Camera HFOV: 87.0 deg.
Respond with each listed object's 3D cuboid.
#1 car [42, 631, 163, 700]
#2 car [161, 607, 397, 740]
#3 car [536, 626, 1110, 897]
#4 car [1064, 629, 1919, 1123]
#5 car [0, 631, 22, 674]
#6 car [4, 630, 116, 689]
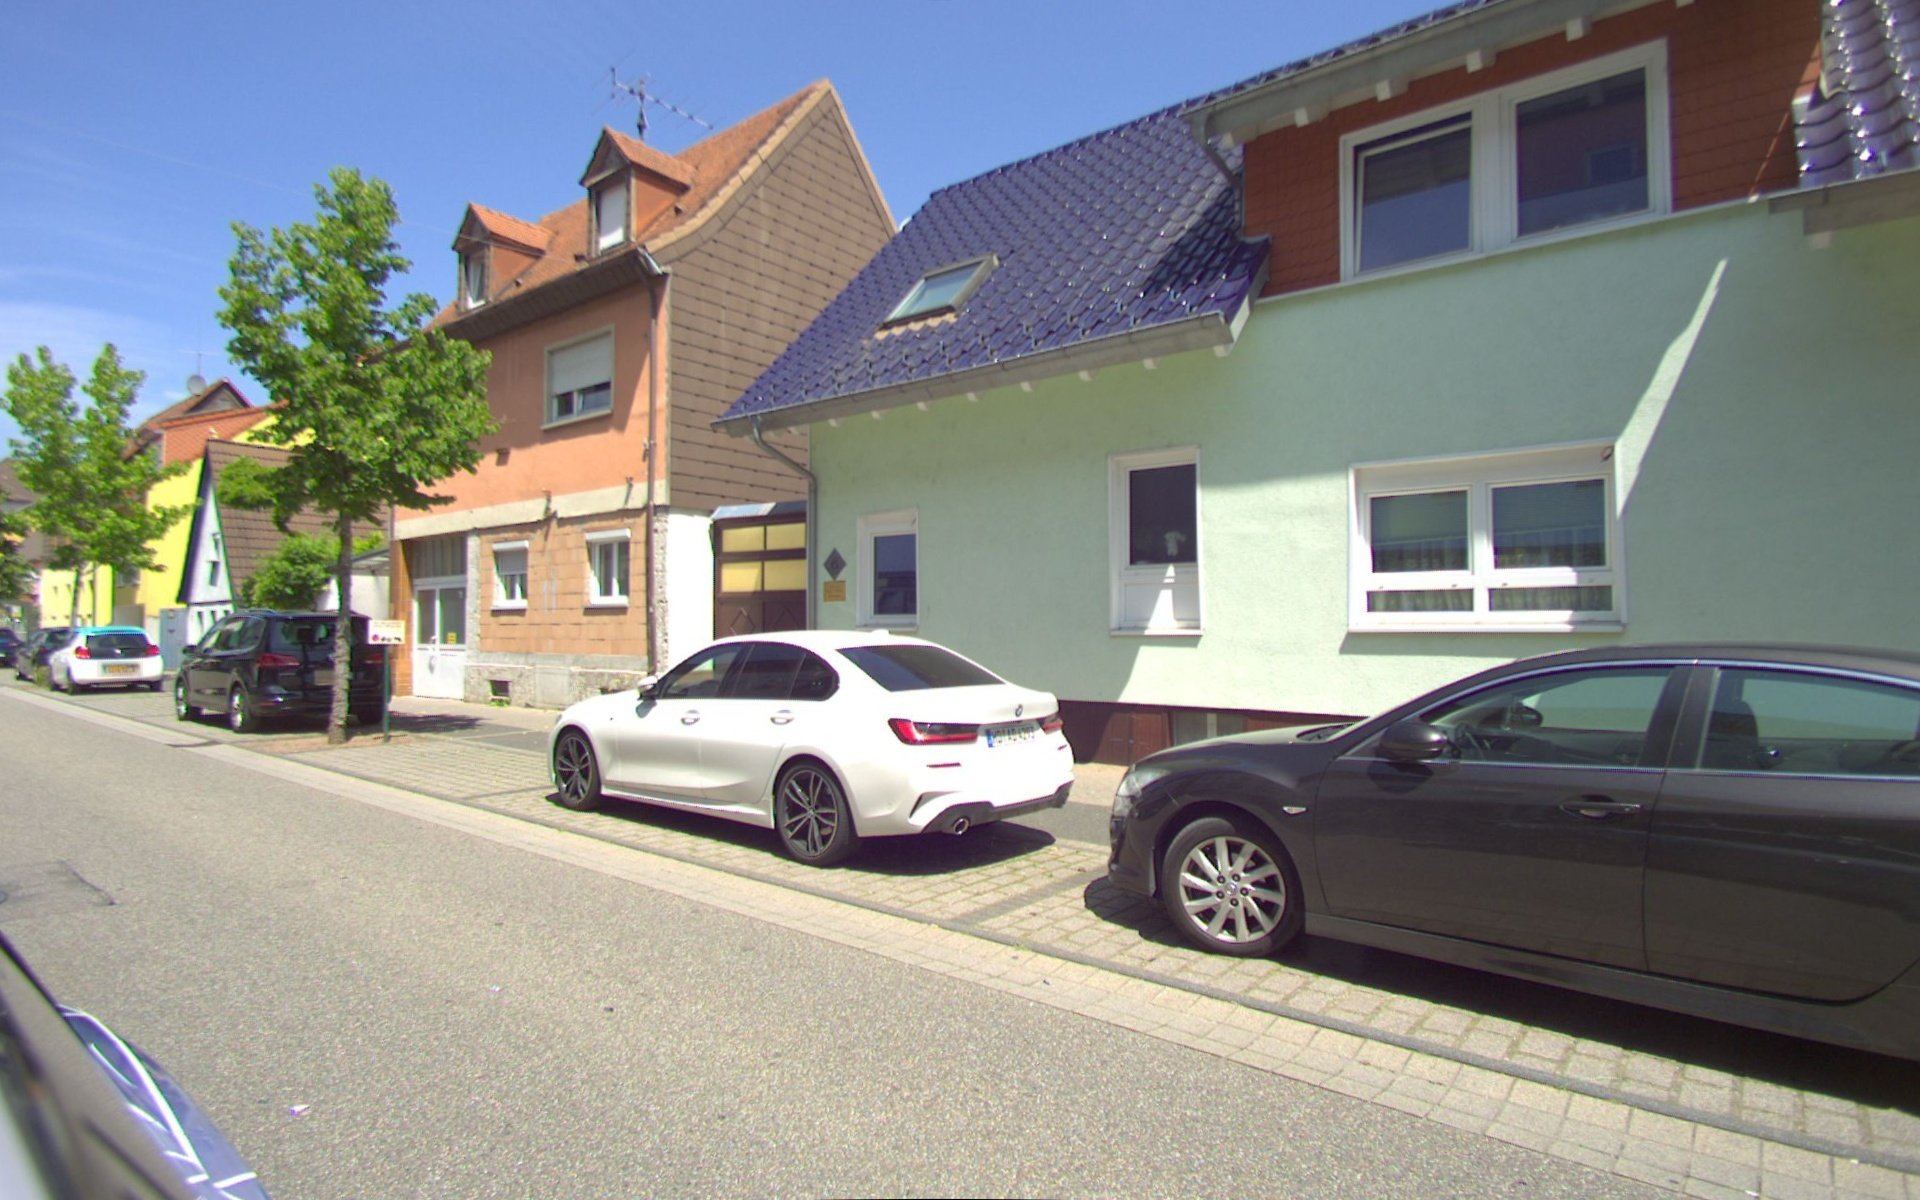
[{"bbox_3d":[-19.456,1.425,22.916,3.407,1.441,1.538,-2,-2,40],"label":"car"},{"bbox_3d":[-10.443,1.035,15.397,4.515,1.739,1.757,-2,-3,40],"label":"car"},{"bbox_3d":[-1.243,0.935,7.566,4.455,1.448,1.703,-2,-2,40],"label":"car"},{"bbox_3d":[2.749,0.846,4.155,4.537,1.448,1.643,-2,-2,42],"label":"car"},{"bbox_3d":[-34.079,1.801,35.172,4.155,1.418,1.639,-2,-3,40],"label":"car"},{"bbox_3d":[-24.110,1.556,27.071,4.095,1.441,1.628,-2,-4,40],"label":"car"}]
